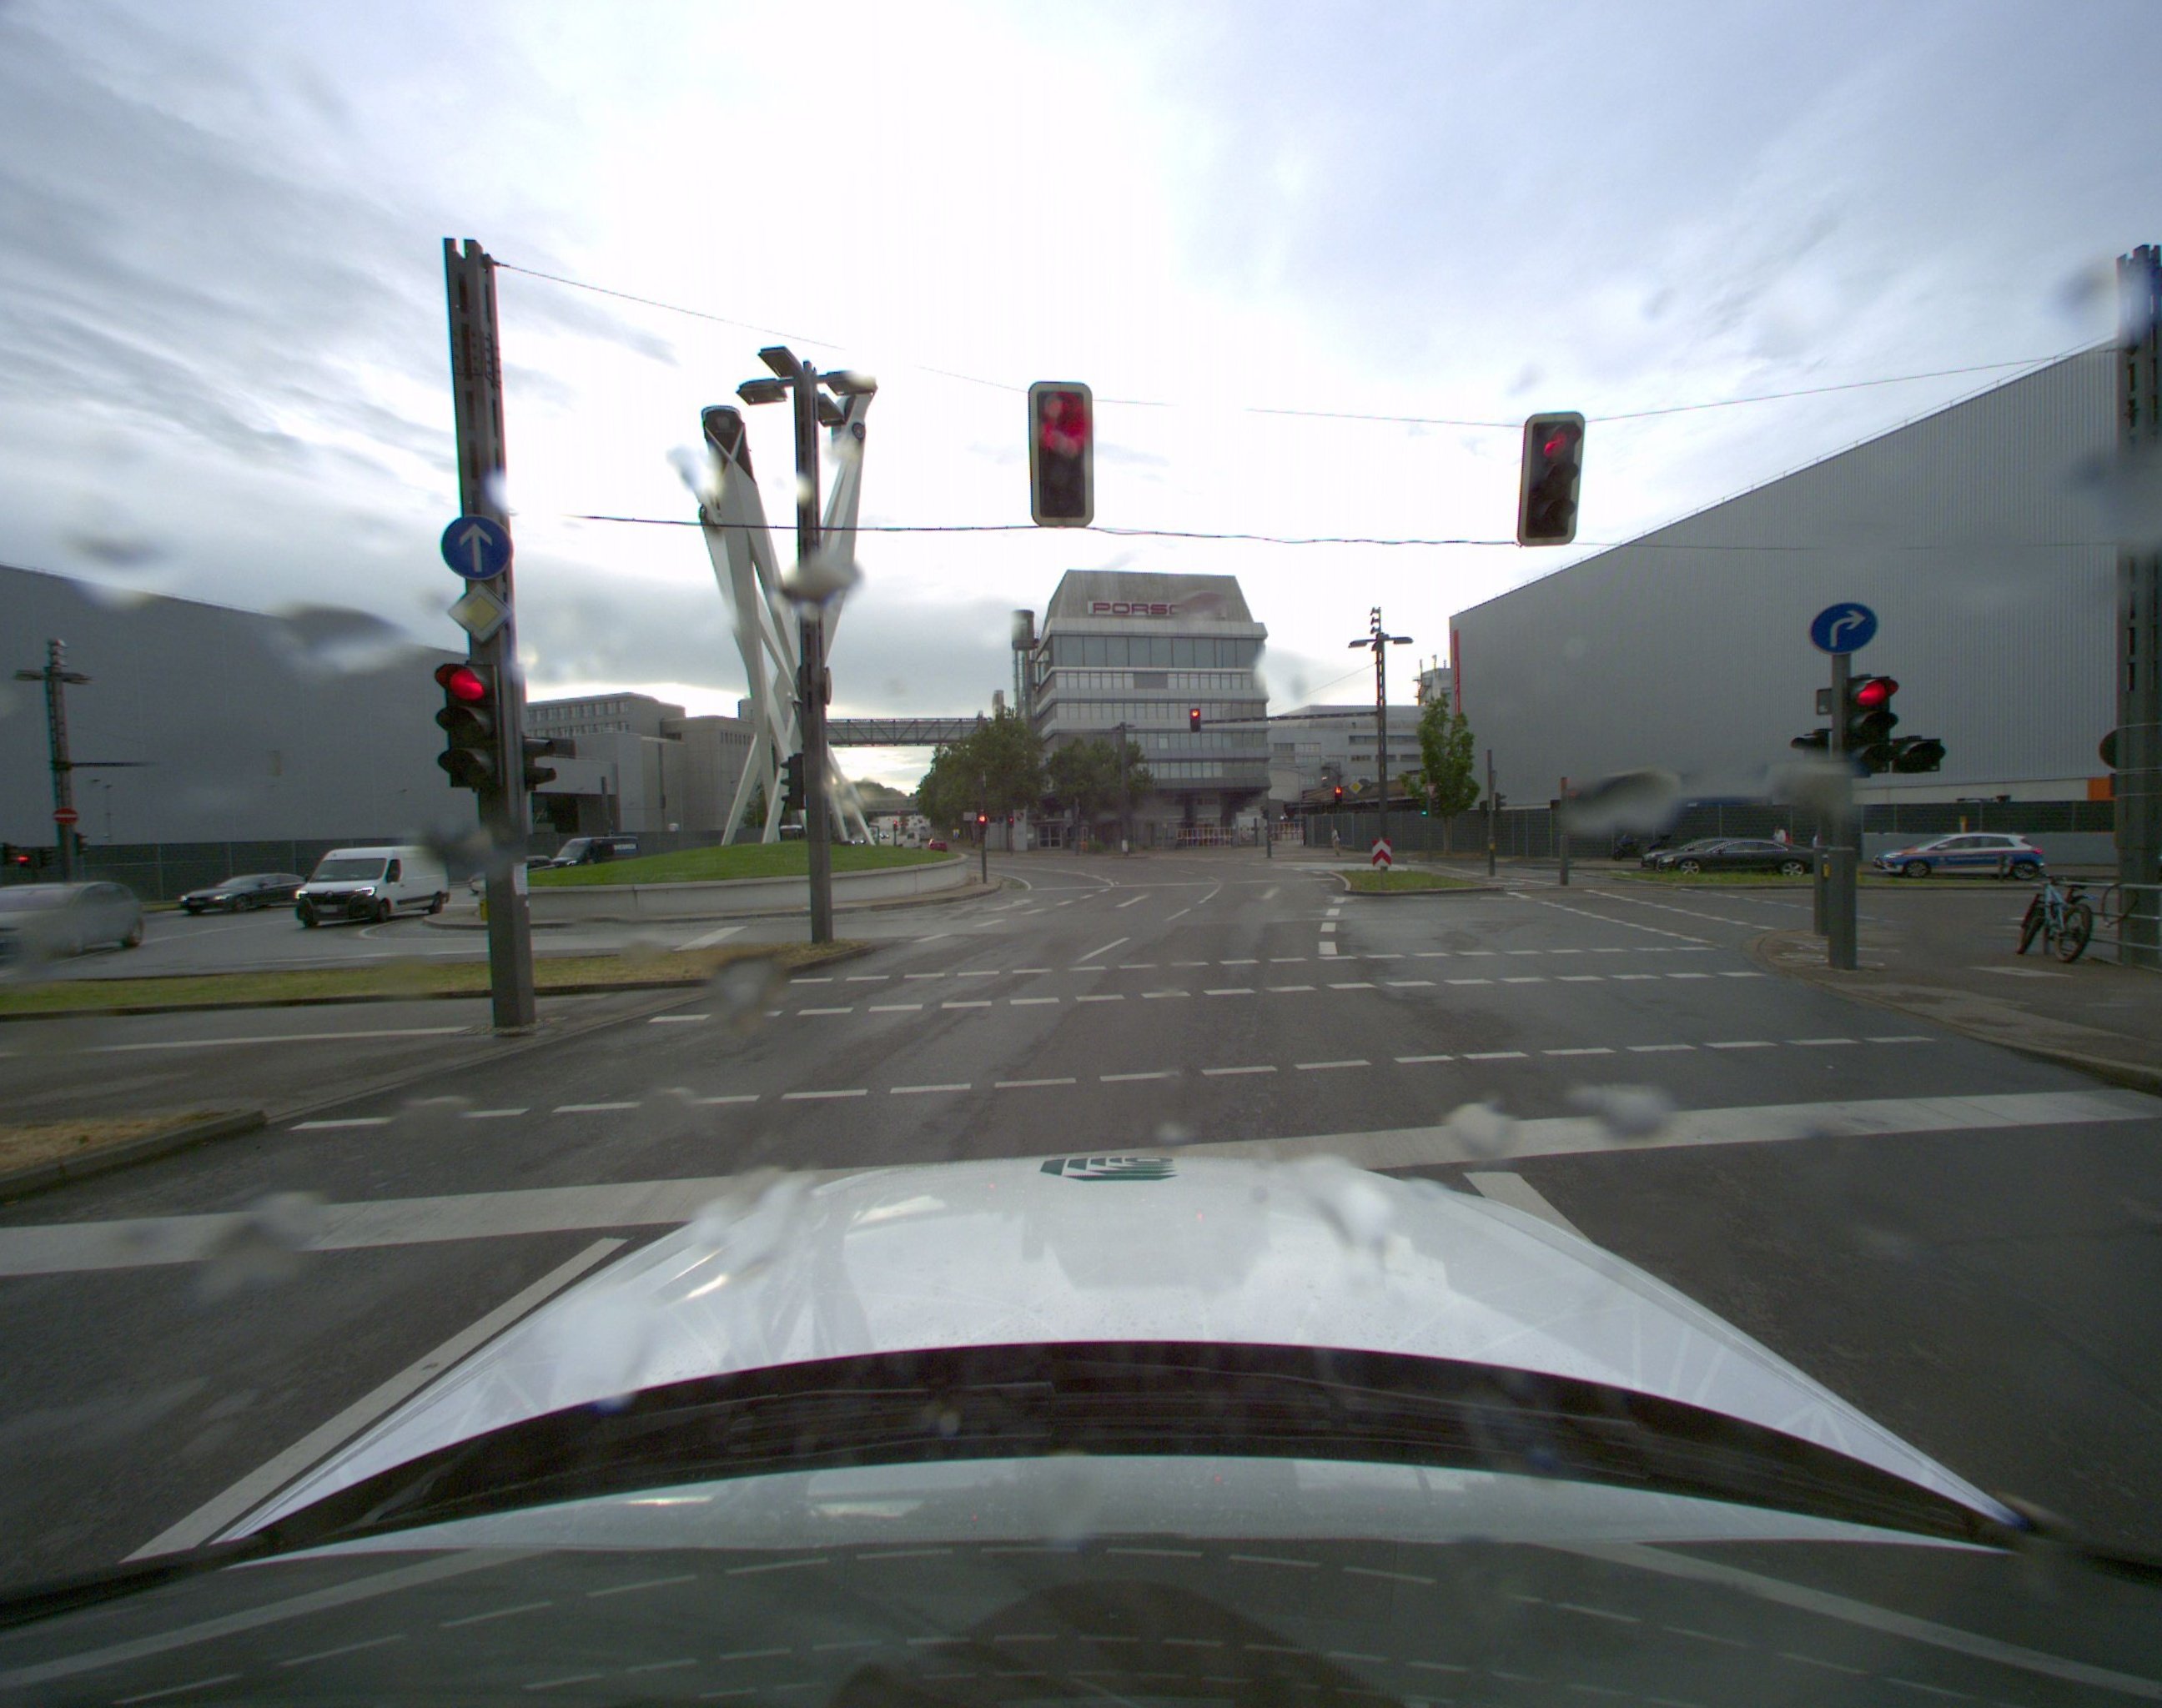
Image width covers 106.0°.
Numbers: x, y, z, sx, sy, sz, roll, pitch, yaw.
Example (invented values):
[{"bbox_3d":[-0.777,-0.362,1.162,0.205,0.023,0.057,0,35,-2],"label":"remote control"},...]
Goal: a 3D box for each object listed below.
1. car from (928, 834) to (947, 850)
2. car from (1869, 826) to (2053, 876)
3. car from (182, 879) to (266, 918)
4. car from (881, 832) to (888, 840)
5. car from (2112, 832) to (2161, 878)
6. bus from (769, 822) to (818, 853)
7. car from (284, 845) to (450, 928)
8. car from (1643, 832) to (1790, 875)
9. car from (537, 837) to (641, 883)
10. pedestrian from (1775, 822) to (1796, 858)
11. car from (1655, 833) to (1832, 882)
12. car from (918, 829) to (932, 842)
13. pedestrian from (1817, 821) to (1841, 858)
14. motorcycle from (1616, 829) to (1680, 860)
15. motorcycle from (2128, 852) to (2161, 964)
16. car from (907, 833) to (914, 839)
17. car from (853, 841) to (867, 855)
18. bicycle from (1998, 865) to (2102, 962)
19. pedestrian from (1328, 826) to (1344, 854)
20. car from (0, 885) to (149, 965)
[{"bbox_3d":[-14.619,-1.231,83.188,1.772,1.464,3.721,-2,-1,-9],"label":"car"},{"bbox_3d":[30.156,-0.121,28.094,3.930,1.601,1.924,0,1,31],"label":"car"},{"bbox_3d":[-34.573,1.750,32.947,1.849,1.338,4.197,-2,0,-40],"label":"car"},{"bbox_3d":[-45.893,-4.128,190.078,1.629,1.816,3.717,-1,1,-13],"label":"car"},{"bbox_3d":[35.286,0.025,25.102,3.949,1.392,1.769,0,2,31],"label":"car"},{"bbox_3d":[-32.089,-1.793,91.409,2.667,3.200,12.634,-1,0,-8],"label":"bus"},{"bbox_3d":[-23.648,0.973,27.316,1.998,2.447,5.396,-2,1,-16],"label":"car"},{"bbox_3d":[24.115,-0.039,31.121,4.244,1.539,1.769,0,2,31],"label":"car"},{"bbox_3d":[-32.711,0.345,54.516,1.957,2.820,7.139,-2,0,6],"label":"car"},{"bbox_3d":[29.371,-0.594,33.952,0.605,1.481,0.426,-1,0,37],"label":"pedestrian"},{"bbox_3d":[22.620,0.075,28.045,4.525,1.539,1.769,0,2,31],"label":"car"},{"bbox_3d":[-28.924,-3.479,150.775,2.236,2.108,4.930,-2,-1,-14],"label":"car"},{"bbox_3d":[30.240,-0.575,32.932,0.642,1.481,0.442,-1,0,35],"label":"pedestrian"},{"bbox_3d":[25.692,-0.440,36.956,2.330,1.344,0.657,-1,0,30],"label":"motorcycle"},{"bbox_3d":[15.137,0.684,10.385,2.213,1.452,0.759,-1,0,12],"label":"motorcycle"},{"bbox_3d":[-38.422,-4.003,183.551,1.558,1.288,3.399,-2,-1,-12],"label":"car"},{"bbox_3d":[-33.784,-0.948,124.678,1.645,2.013,3.746,-1,1,-10],"label":"car"},{"bbox_3d":[12.382,0.713,10.450,0.381,1.098,1.762,-2,0,35],"label":"bicycle"},{"bbox_3d":[14.748,-0.795,47.115,0.801,1.611,0.773,-2,-1,19],"label":"pedestrian"},{"bbox_3d":[-23.182,1.537,18.307,1.846,1.494,3.959,-2,0,-33],"label":"car"}]
